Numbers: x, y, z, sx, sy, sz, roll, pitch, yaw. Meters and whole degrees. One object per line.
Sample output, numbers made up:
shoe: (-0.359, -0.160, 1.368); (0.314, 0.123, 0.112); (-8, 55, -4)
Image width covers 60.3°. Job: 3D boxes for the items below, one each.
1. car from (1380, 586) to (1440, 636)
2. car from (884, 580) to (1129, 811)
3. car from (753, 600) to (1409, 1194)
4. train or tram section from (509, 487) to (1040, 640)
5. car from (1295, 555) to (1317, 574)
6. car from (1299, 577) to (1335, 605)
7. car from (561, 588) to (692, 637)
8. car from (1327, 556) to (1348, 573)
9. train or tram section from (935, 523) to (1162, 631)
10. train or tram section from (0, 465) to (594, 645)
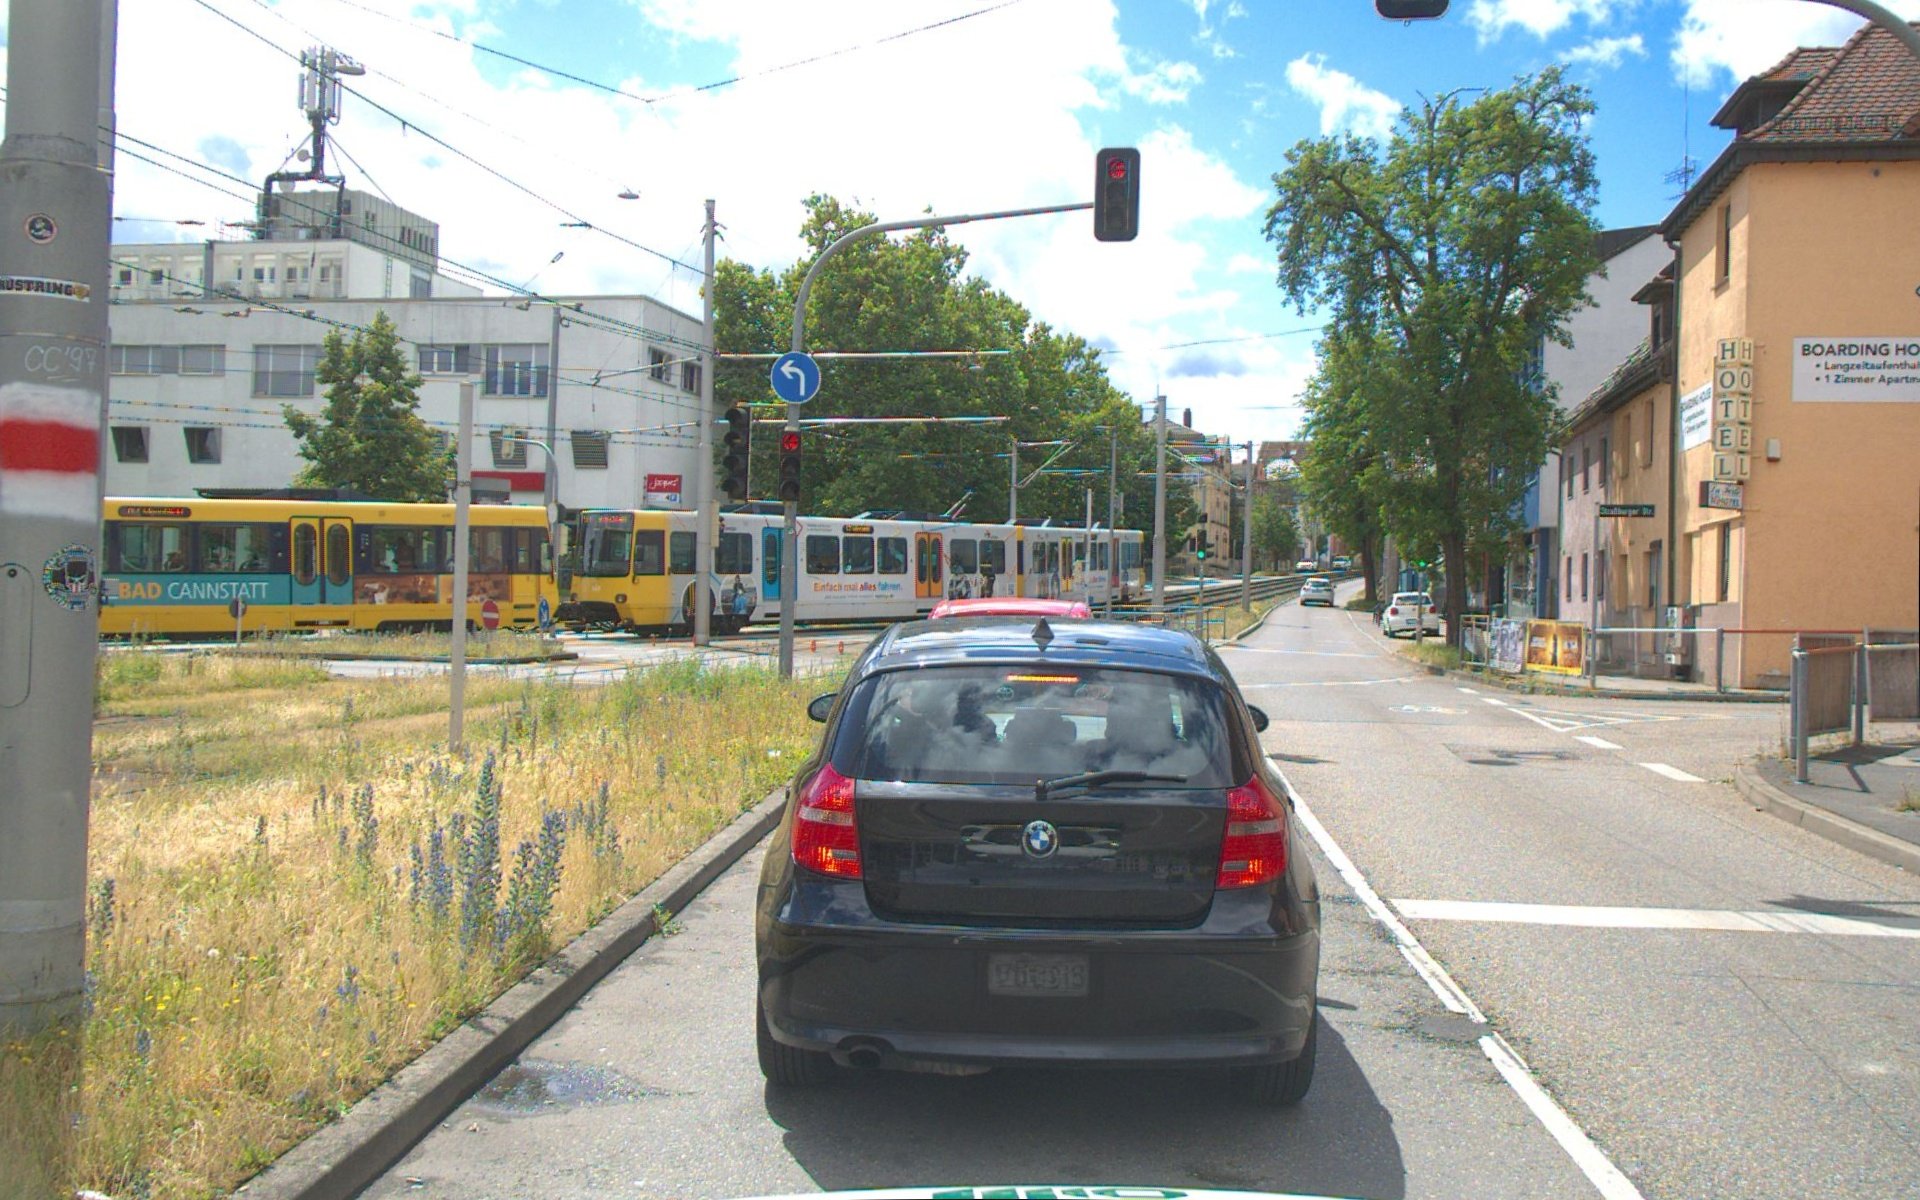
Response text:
car: (15.253, 0.378, 56.174); (1.749, 1.624, 4.003); (0, -1, 12)
car: (0.490, 0.645, 12.790); (1.590, 1.499, 4.002); (0, -1, 6)
car: (0.213, 0.764, 6.193); (1.667, 1.477, 3.997); (0, -1, -3)
train or tram section: (-4.680, -0.872, 51.971); (3.687, 3.947, 20.553); (-1, -1, 36)
car: (39.422, -4.042, 188.390); (1.952, 2.049, 4.000); (-1, -1, 21)
car: (19.692, -0.496, 91.372); (1.776, 1.494, 4.004); (0, 0, 9)
car: (-11.423, 0.440, 56.820); (4.138, 1.613, 1.828); (0, -1, -44)
car: (47.426, -4.460, 207.816); (1.952, 2.049, 4.000); (-1, -1, 21)
train or tram section: (4.308, -0.724, 69.260); (3.672, 3.881, 20.053); (-1, -1, 20)
train or tram section: (-18.870, -0.942, 39.178); (19.880, 3.896, 3.722); (0, -1, -31)
